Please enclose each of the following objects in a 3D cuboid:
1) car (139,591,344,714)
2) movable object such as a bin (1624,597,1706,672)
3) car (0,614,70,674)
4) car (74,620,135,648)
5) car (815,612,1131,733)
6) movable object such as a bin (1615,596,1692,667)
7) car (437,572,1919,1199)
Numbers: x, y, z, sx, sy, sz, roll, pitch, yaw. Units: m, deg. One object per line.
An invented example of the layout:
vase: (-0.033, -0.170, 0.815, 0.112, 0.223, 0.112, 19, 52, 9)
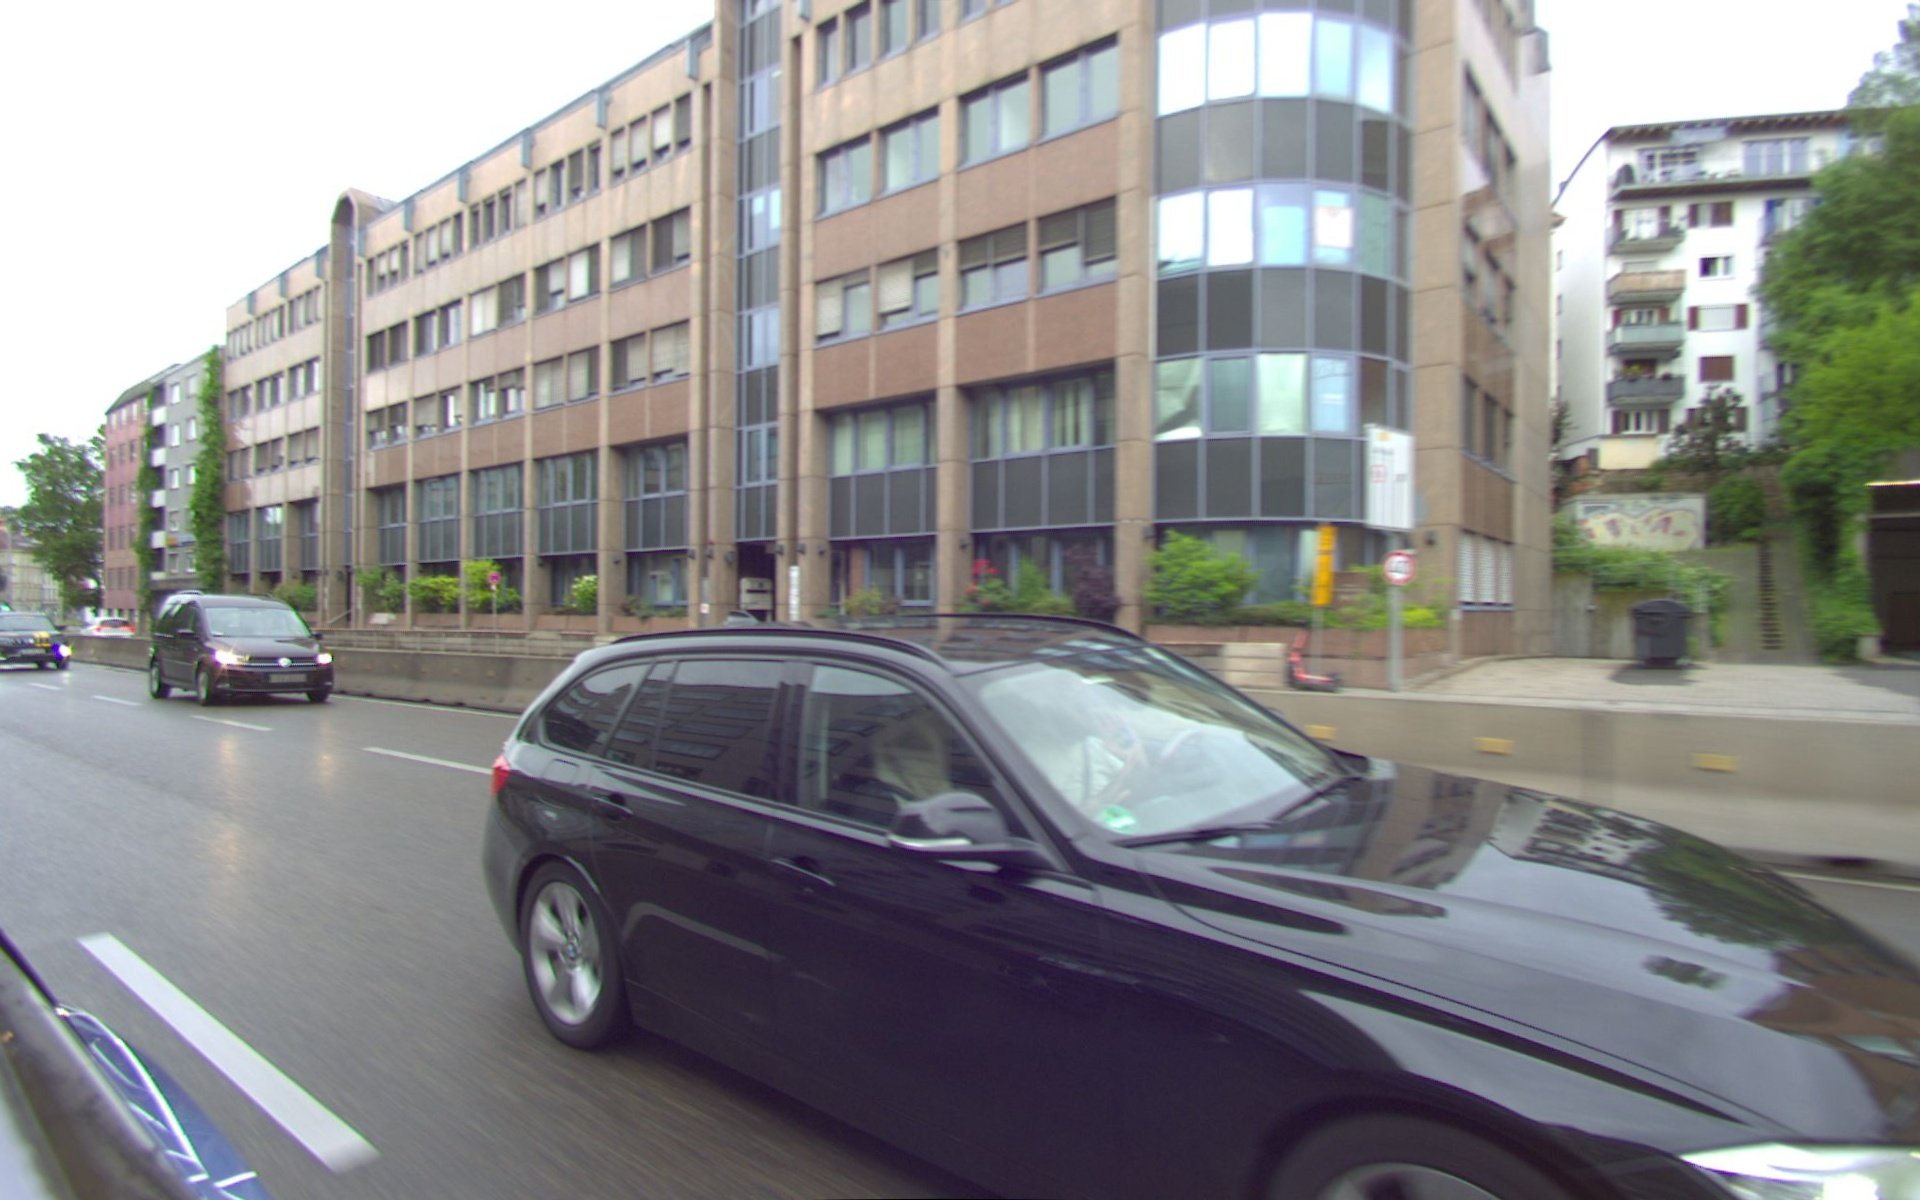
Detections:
car: (-12.094, 0.806, 16.950, 4.247, 1.814, 1.776, -1, -1, 40)
movable object such as a bin: (14.699, 0.713, 21.118, 1.347, 1.491, 1.232, -1, -1, 35)
car: (-26.372, 1.189, 28.143, 4.351, 1.545, 1.750, -1, -1, 39)
car: (-43.041, 1.680, 50.910, 3.692, 1.329, 1.702, -1, -1, 39)
car: (0.053, 0.786, 12.314, 3.726, 1.240, 1.595, -1, -1, 42)
movable object such as a bin: (15.344, 0.688, 22.430, 1.347, 1.491, 1.232, -1, -1, 34)
car: (0.298, 0.730, 3.099, 4.652, 1.454, 1.750, -1, -1, 40)
